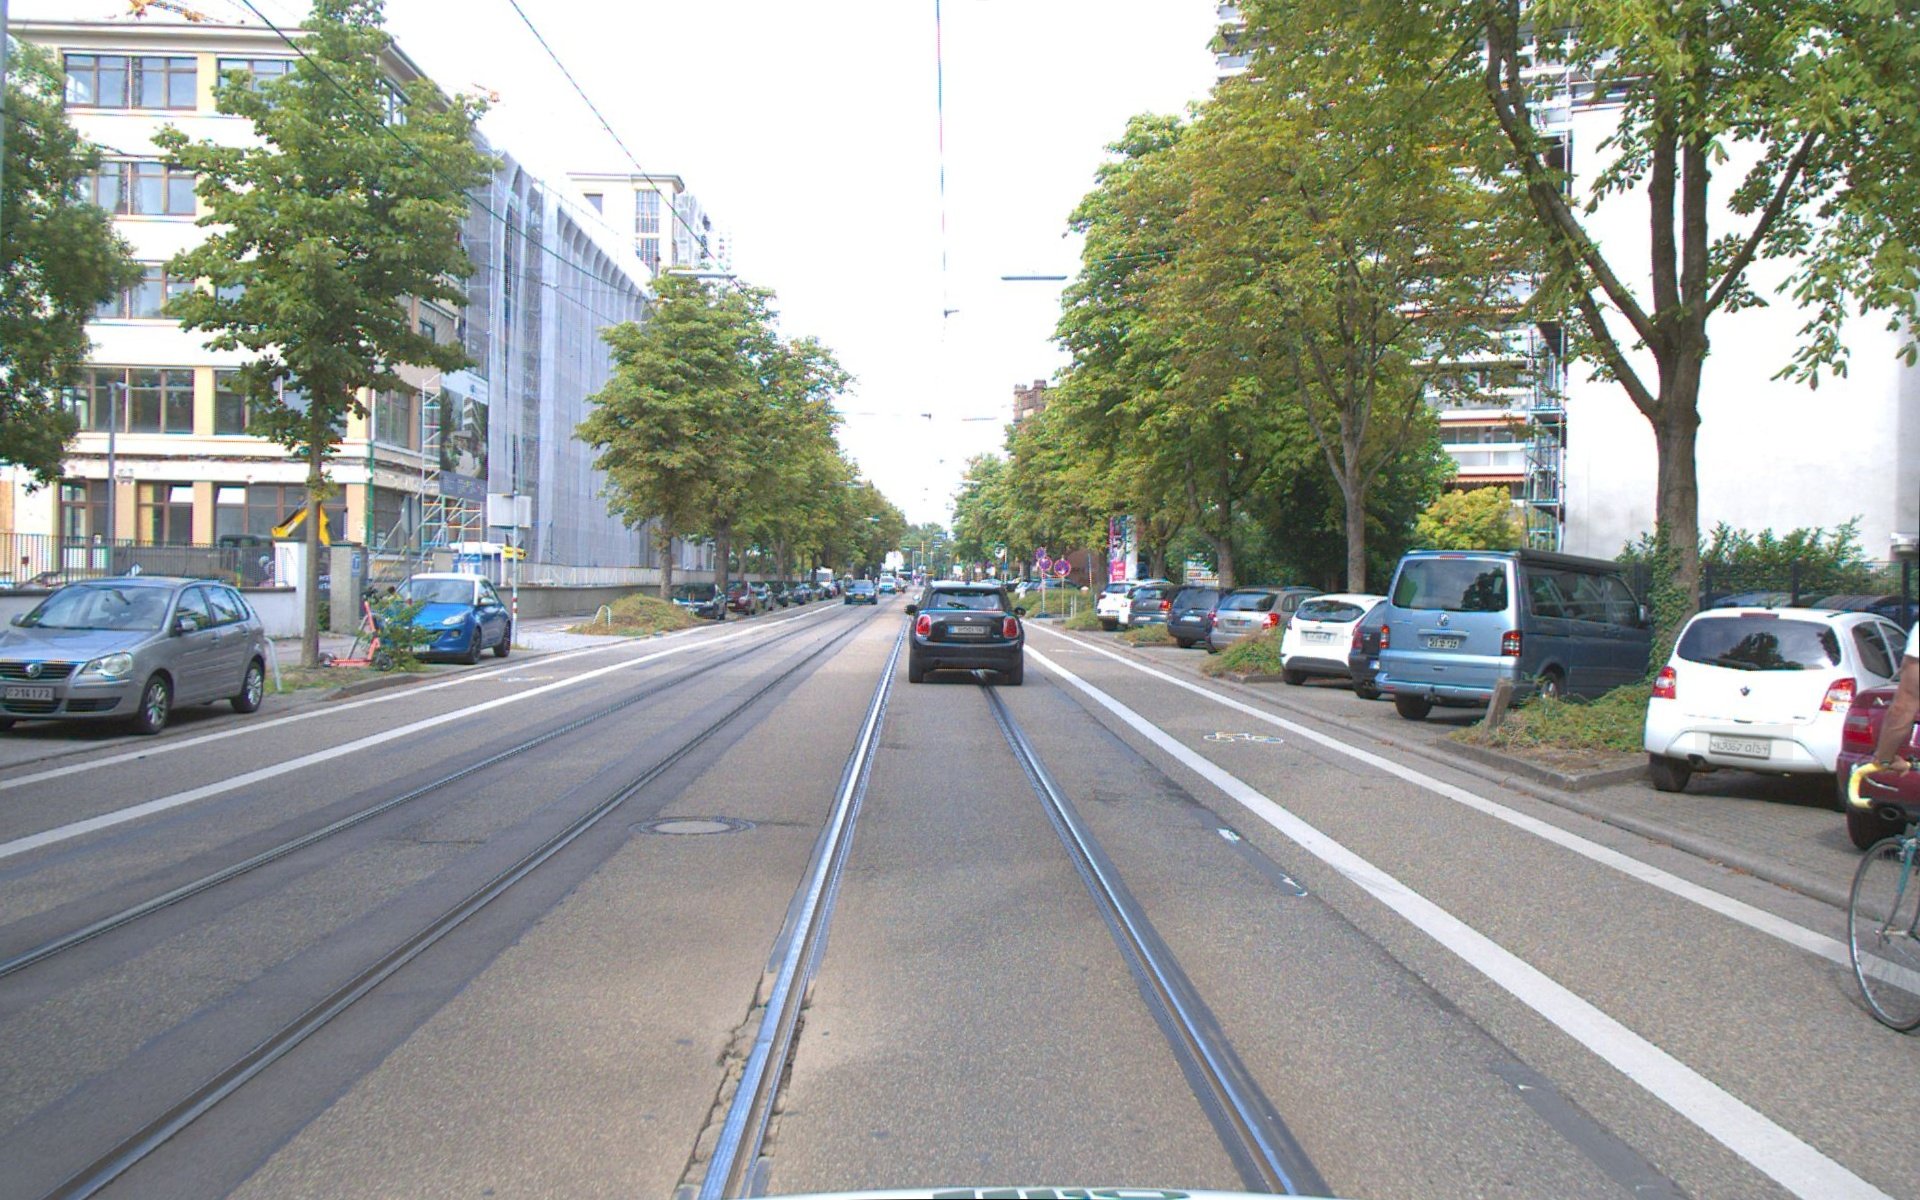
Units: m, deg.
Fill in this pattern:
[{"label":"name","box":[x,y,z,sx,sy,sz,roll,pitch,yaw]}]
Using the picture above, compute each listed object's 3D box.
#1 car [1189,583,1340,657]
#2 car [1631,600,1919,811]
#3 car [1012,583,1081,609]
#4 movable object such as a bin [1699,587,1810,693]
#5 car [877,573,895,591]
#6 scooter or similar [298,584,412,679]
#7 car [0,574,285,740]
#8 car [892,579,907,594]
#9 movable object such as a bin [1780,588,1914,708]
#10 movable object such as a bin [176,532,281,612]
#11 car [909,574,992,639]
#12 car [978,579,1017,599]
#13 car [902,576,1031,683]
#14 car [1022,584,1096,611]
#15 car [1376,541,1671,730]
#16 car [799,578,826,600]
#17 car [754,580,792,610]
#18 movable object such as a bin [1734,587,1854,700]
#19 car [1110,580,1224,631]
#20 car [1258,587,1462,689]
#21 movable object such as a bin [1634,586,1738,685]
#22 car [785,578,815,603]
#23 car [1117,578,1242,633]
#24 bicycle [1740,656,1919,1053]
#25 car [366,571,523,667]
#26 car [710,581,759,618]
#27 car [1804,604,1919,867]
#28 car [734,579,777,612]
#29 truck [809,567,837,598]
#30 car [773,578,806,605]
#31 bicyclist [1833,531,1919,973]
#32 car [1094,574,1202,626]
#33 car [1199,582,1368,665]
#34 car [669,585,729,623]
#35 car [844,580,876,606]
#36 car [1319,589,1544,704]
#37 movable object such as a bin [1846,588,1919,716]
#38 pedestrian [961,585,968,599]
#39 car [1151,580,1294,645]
[{"label":"car","box":[6.916,0.448,37.404,1.612,1.549,3.715,1,0,43]},{"label":"car","box":[7.095,0.773,13.670,1.660,1.457,3.692,1,0,43]},{"label":"car","box":[5.159,-0.242,98.739,3.909,1.449,1.883,1,0,-5]},{"label":"movable object such as a bin","box":[12.038,0.587,25.096,1.047,1.534,1.213,2,1,-1]},{"label":"car","box":[-7.791,-1.924,174.586,1.766,1.855,4.483,0,0,-2]},{"label":"scooter or similar","box":[-8.966,0.458,24.538,1.414,1.367,0.700,0,0,0]},{"label":"car","box":[-8.474,0.496,16.868,1.659,1.452,3.867,2,1,-2]},{"label":"car","box":[-7.125,-1.595,193.884,1.766,1.650,4.483,0,0,-2]},{"label":"movable object such as a bin","box":[11.964,0.621,22.357,1.047,1.534,1.323,2,1,-1]},{"label":"movable object such as a bin","box":[-20.088,-0.771,45.487,1.945,2.103,1.960,1,0,1]},{"label":"car","box":[-0.281,0.129,41.902,1.758,1.495,3.996,3,0,-5]},{"label":"car","box":[3.948,-1.181,175.944,3.909,1.944,1.998,2,1,-5]},{"label":"car","box":[0.026,0.396,25.170,1.757,1.447,3.999,2,1,-2]},{"label":"car","box":[5.477,-0.142,91.855,3.909,1.449,1.883,1,0,-5]},{"label":"car","box":[6.937,0.397,20.108,1.800,2.050,4.248,1,0,43]},{"label":"car","box":[-10.982,-0.811,123.276,1.766,1.611,4.029,0,0,-2]},{"label":"car","box":[-10.435,-0.278,92.441,1.766,1.611,4.029,0,0,-2]},{"label":"movable object such as a bin","box":[11.906,0.602,23.645,1.047,1.534,1.213,2,1,-1]},{"label":"car","box":[6.288,0.172,50.035,3.416,1.468,1.537,1,1,-41]},{"label":"car","box":[6.503,0.583,26.638,1.611,1.485,3.807,1,0,41]},{"label":"movable object such as a bin","box":[11.795,0.555,26.906,1.047,1.534,1.334,2,1,-1]},{"label":"car","box":[-10.812,-0.658,111.849,1.766,1.611,4.029,0,0,-2]},{"label":"car","box":[6.258,0.153,47.014,3.503,1.468,1.600,1,1,-41]},{"label":"bicycle","box":[3.542,0.887,5.644,0.644,1.270,2.124,2,1,-3]},{"label":"car","box":[-8.914,0.293,28.873,1.659,1.513,3.676,2,1,-2]},{"label":"car","box":[-9.938,-0.036,73.094,1.766,1.611,4.029,0,0,-2]},{"label":"car","box":[6.926,0.794,10.450,3.945,1.457,1.662,1,0,-44]},{"label":"car","box":[-10.100,-0.234,81.960,1.766,1.611,4.029,0,0,-2]},{"label":"truck","box":[-11.274,-1.419,136.371,2.029,2.513,4.897,0,0,-2]},{"label":"car","box":[-10.557,-0.537,102.689,1.766,1.611,4.029,0,0,-2]},{"label":"bicyclist","box":[3.572,0.522,5.489,0.644,1.489,1.178,2,1,-3]},{"label":"car","box":[6.031,0.004,52.926,3.416,1.600,1.537,1,1,-41]},{"label":"car","box":[6.555,0.462,33.333,1.612,1.549,3.715,1,0,43]},{"label":"car","box":[-9.857,0.134,62.702,1.766,1.398,4.029,0,0,-2]},{"label":"car","box":[-5.980,-0.422,99.052,1.798,1.473,4.552,1,1,-2]},{"label":"car","box":[6.848,0.632,23.804,1.647,1.485,3.807,1,0,41]},{"label":"movable object such as a bin","box":[12.001,0.644,20.719,1.047,1.534,1.323,2,1,-1]},{"label":"pedestrian","box":[0.515,-0.964,197.476,0.711,1.674,0.767,2,0,8]},{"label":"car","box":[6.411,0.315,40.150,1.612,1.484,3.715,1,0,43]}]
